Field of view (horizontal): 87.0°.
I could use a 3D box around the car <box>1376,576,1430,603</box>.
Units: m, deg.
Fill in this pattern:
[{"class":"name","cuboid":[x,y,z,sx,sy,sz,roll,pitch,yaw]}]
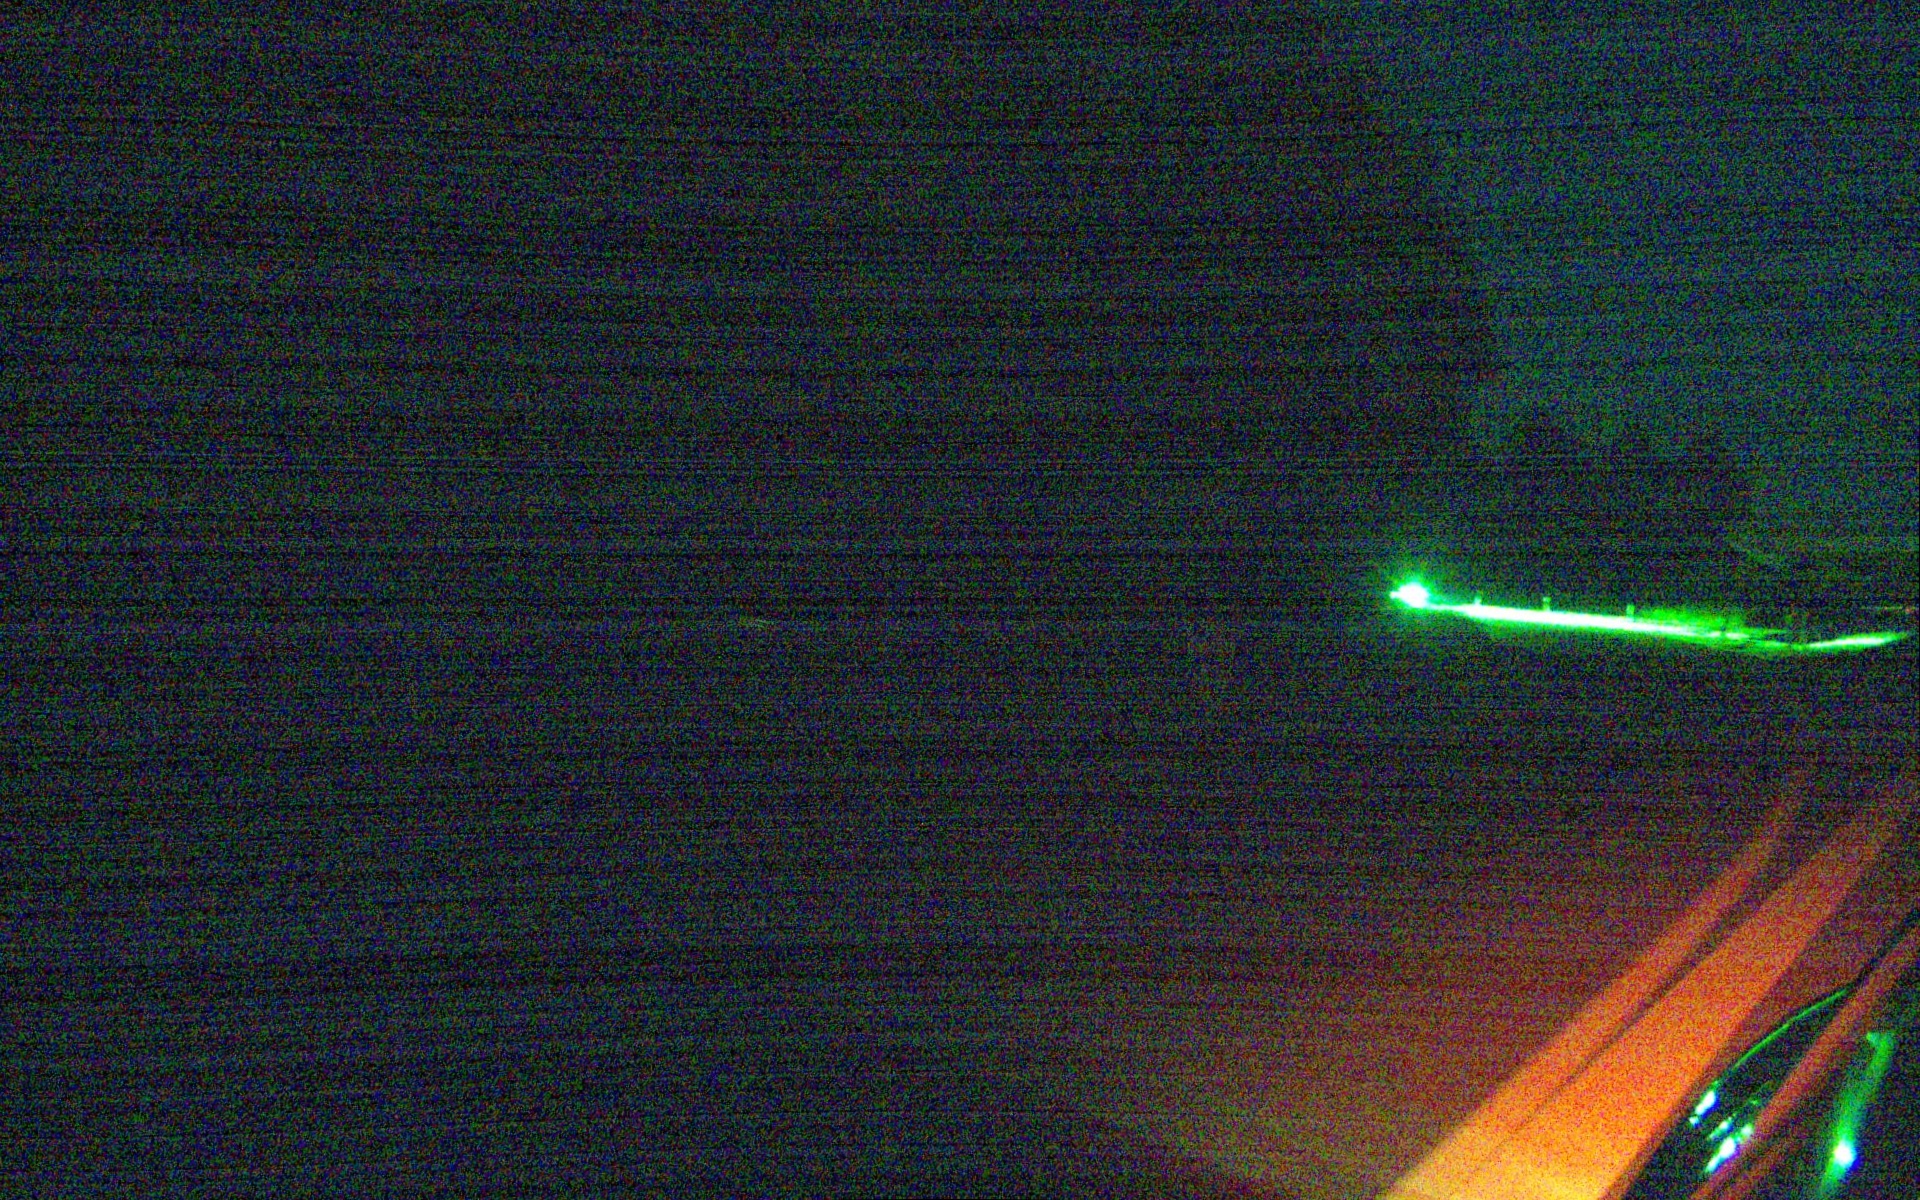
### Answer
[{"class":"car","cuboid":[32.485,-0.768,74.337,1.961,1.877,4.002,-1,0,-4]}]
